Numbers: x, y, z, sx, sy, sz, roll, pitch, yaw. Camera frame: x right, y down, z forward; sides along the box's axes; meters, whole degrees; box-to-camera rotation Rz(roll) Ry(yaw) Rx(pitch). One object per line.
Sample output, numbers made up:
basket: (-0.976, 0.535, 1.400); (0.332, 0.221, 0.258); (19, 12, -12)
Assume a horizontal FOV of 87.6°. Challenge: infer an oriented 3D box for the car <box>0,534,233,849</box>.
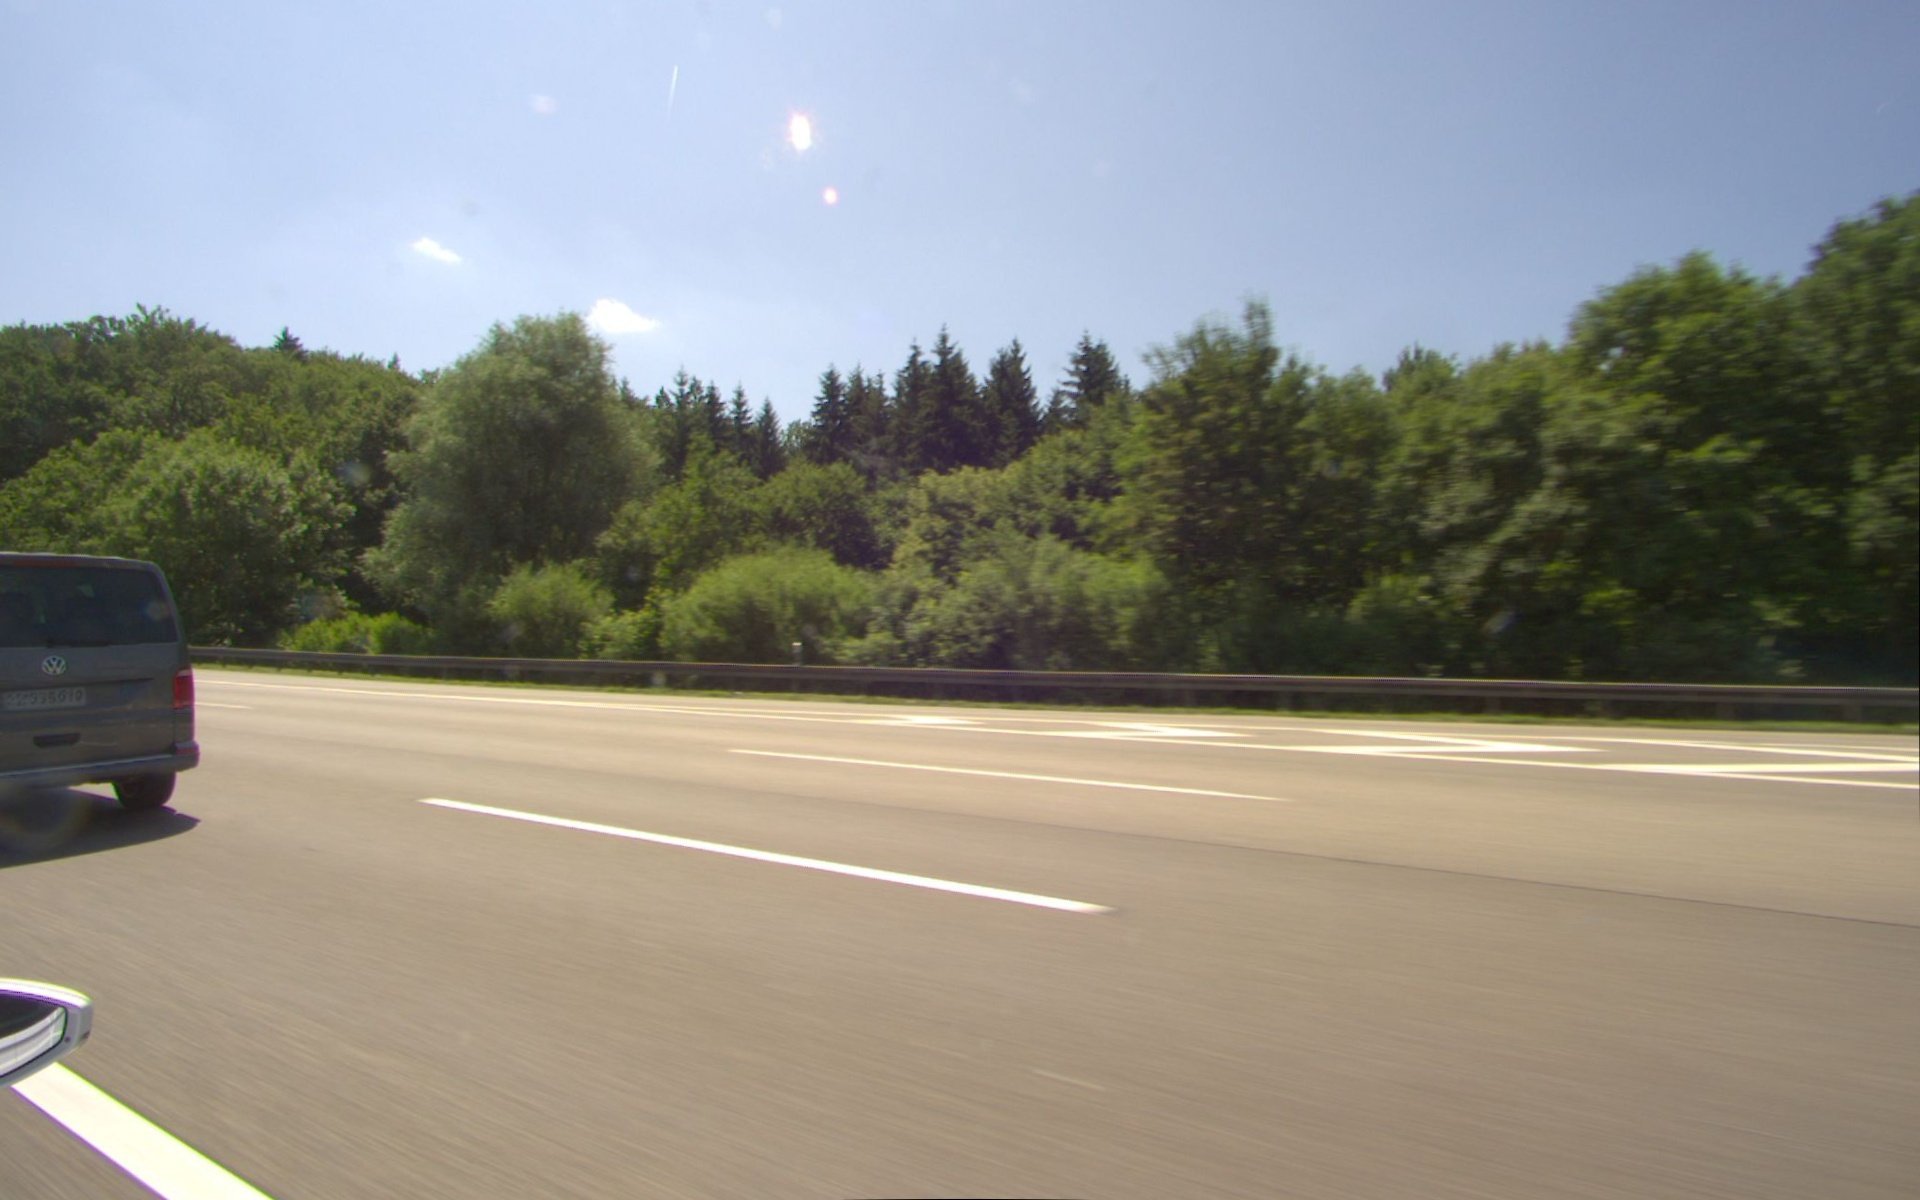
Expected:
car: (-8.227, 0.637, 8.149); (5.009, 2.059, 1.960); (-1, -1, 31)
